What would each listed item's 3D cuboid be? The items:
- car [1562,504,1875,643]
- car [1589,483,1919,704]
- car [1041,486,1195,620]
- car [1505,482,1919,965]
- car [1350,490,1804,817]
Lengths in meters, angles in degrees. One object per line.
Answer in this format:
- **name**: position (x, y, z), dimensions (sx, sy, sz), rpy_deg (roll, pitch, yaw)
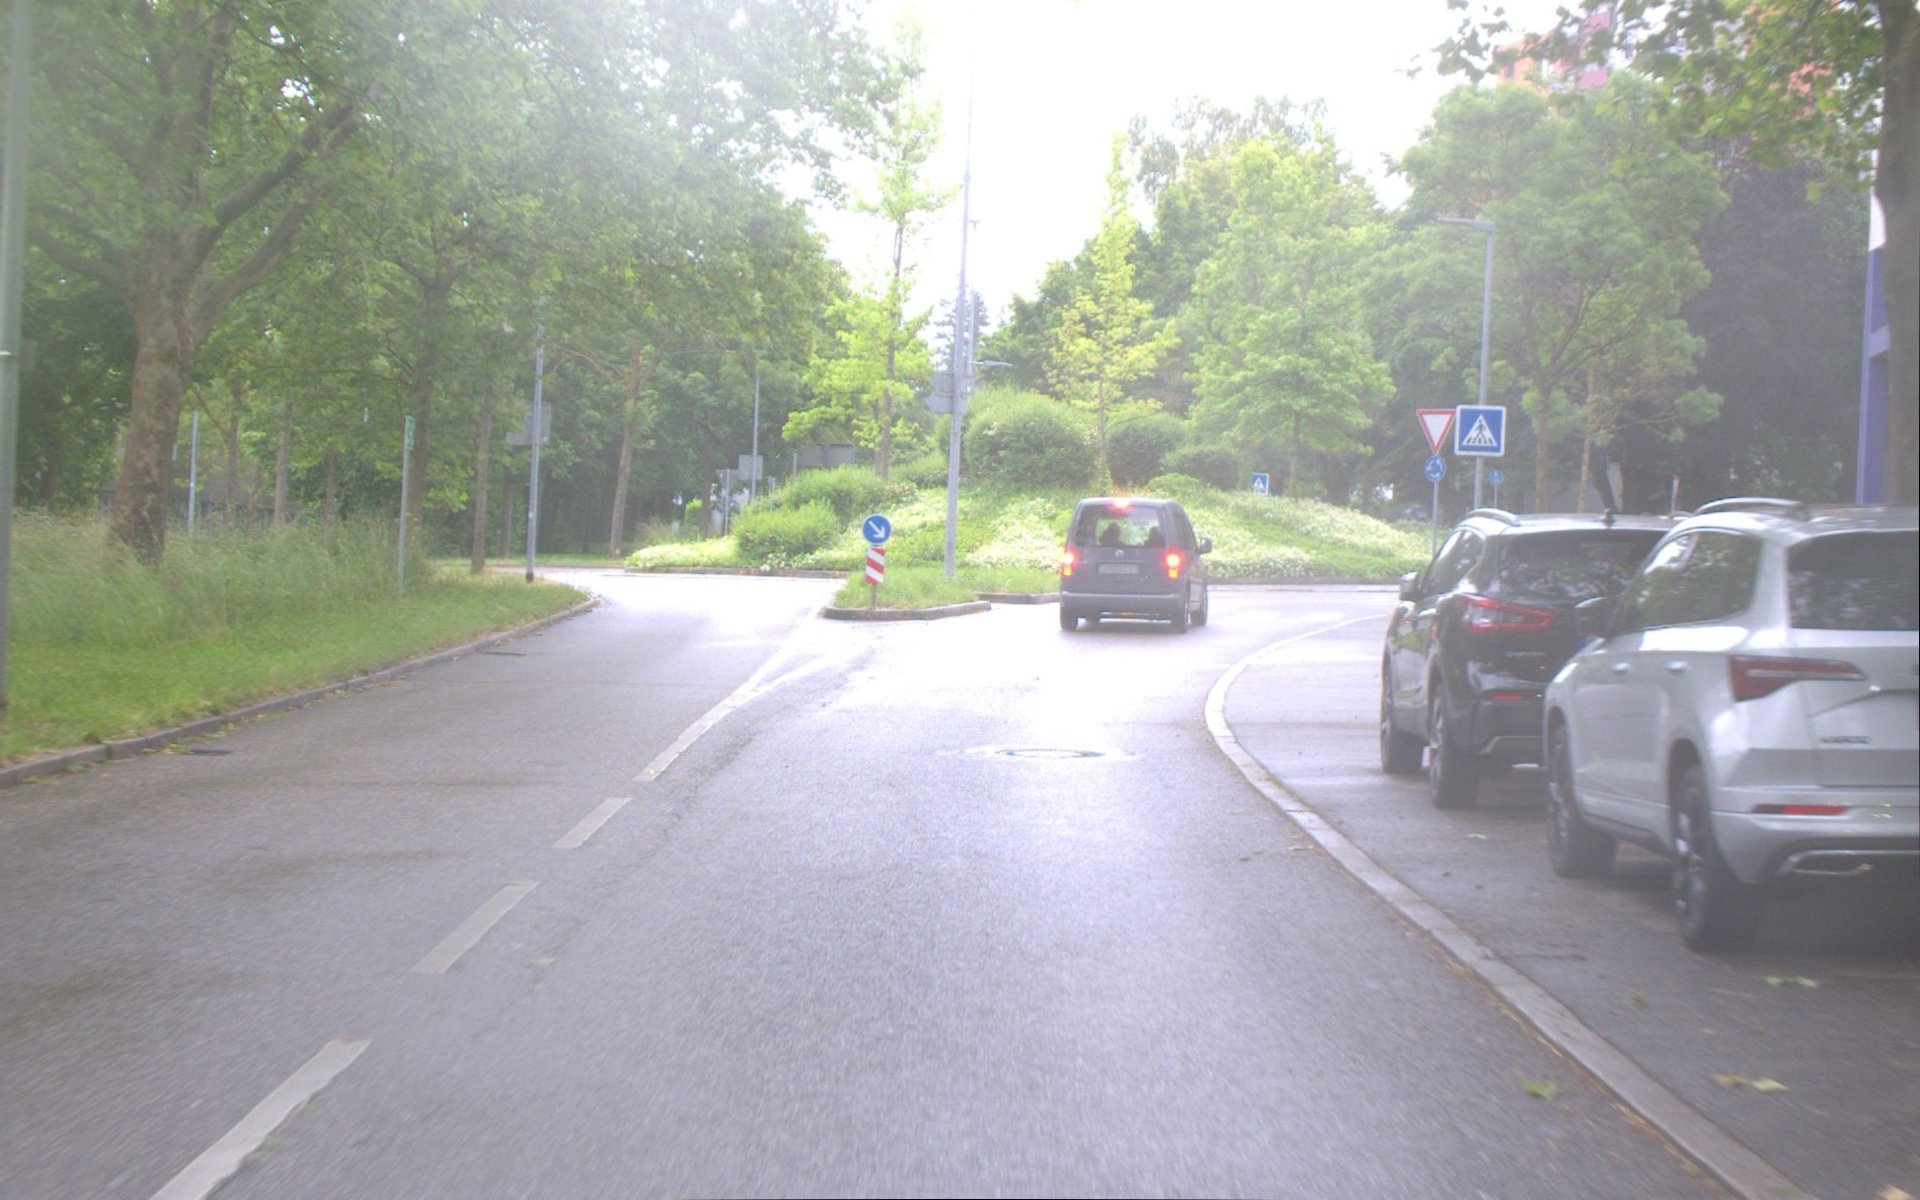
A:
- **car**: position (11.530, -0.429, 52.506), dimensions (4.378, 1.753, 1.829), rpy_deg (4, 4, 6)
- **car**: position (7.606, -0.044, 28.388), dimensions (4.470, 1.674, 1.768), rpy_deg (2, 2, 2)
- **car**: position (2.256, -0.689, 48.172), dimensions (1.919, 1.795, 3.789), rpy_deg (0, 2, 6)
- **car**: position (3.339, 0.371, 13.423), dimensions (1.728, 1.586, 4.253), rpy_deg (0, 1, 0)
- **car**: position (3.332, 0.228, 19.381), dimensions (1.801, 1.596, 4.371), rpy_deg (1, 1, 1)
